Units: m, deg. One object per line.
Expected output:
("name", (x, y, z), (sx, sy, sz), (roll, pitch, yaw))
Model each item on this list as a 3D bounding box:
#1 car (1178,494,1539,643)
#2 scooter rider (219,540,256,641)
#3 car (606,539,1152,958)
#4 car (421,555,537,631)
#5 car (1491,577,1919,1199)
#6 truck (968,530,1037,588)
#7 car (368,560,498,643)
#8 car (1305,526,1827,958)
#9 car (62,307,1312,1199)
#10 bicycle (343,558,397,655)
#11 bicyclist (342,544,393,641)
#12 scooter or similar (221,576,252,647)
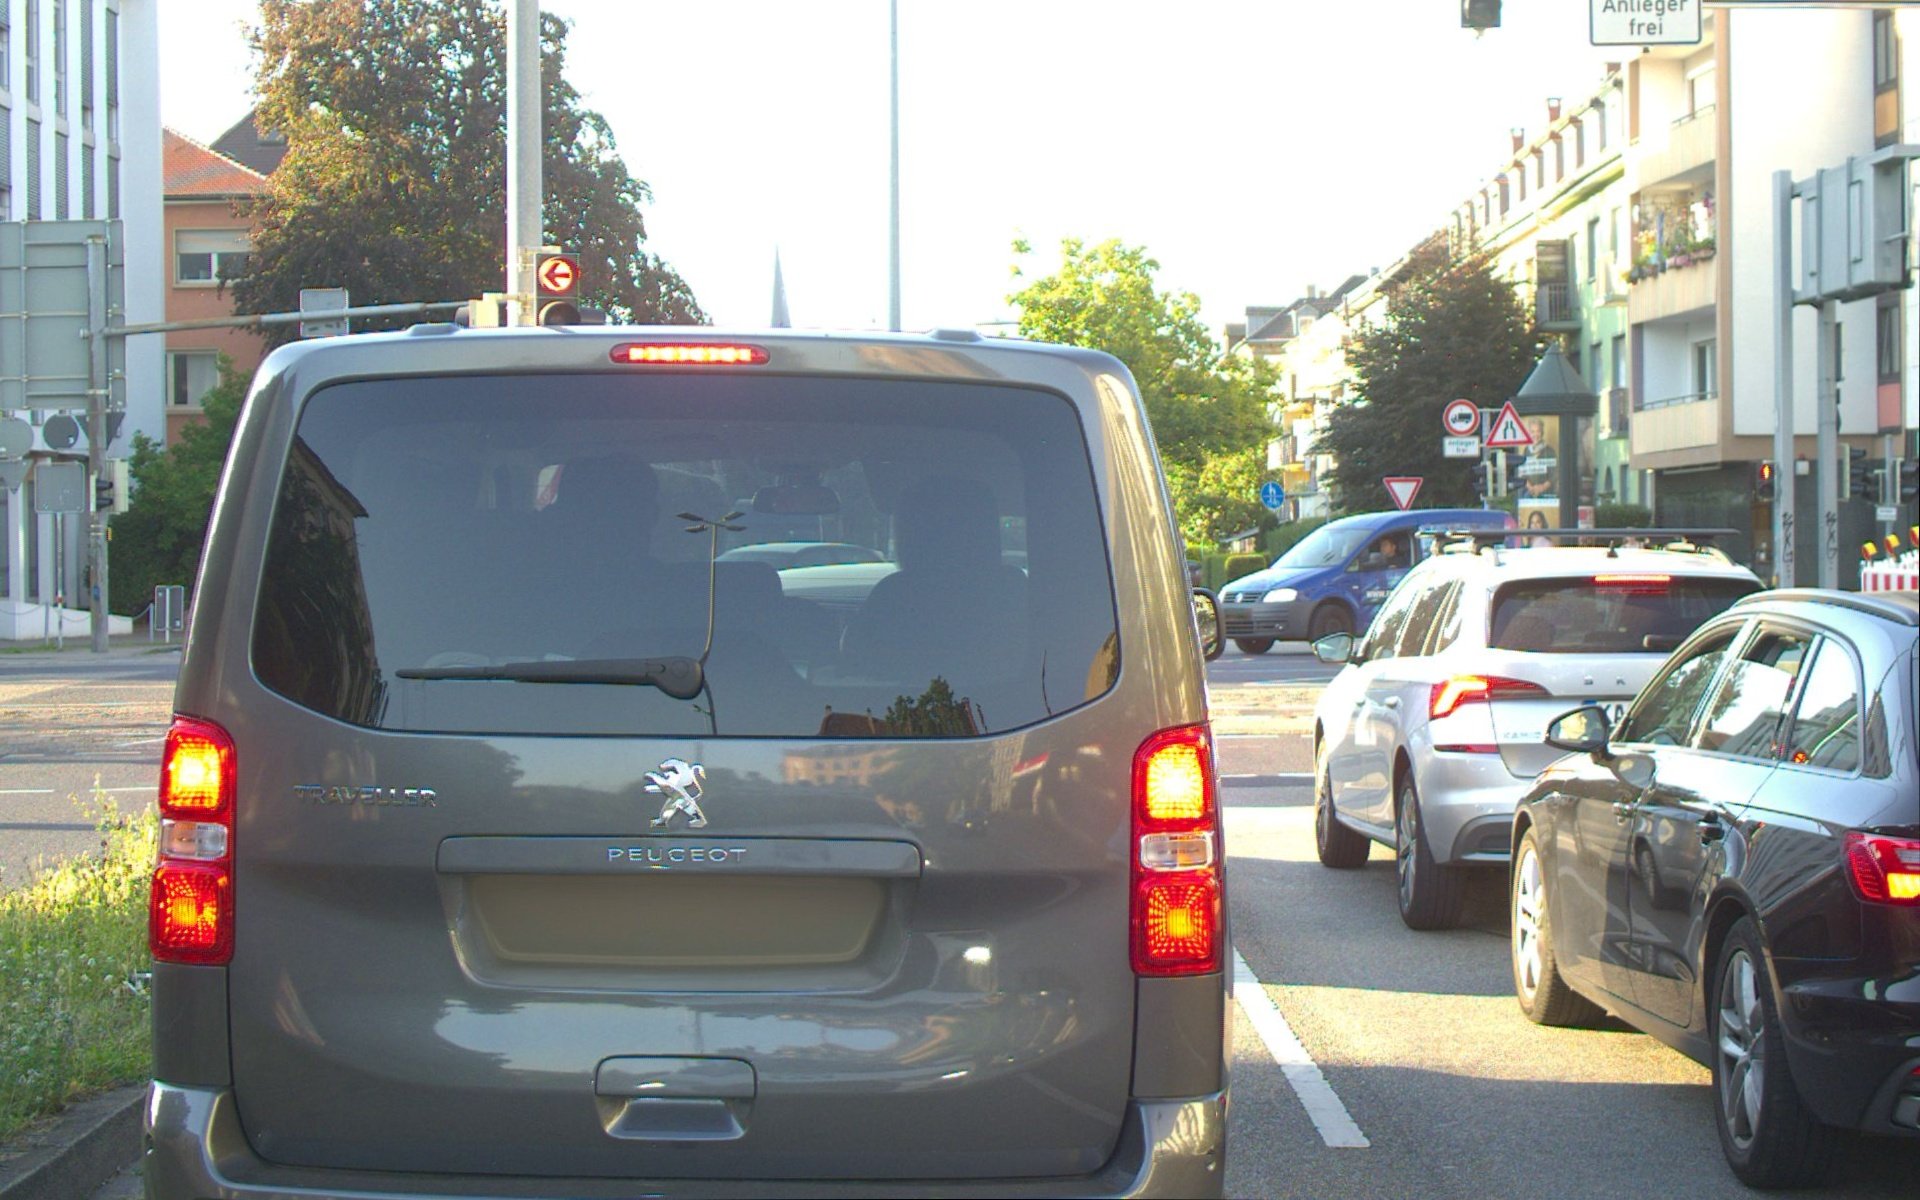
("car", (5.112, -0.424, 44.023), (4.215, 1.811, 2.000), (-1, 1, -30))
("scooter rider", (-12.262, -0.163, 58.333), (0.481, 1.691, 0.636), (0, 1, -1))
("car", (-0.321, 0.512, 14.622), (1.993, 1.525, 4.000), (0, 1, -1))
("car", (-9.491, -0.162, 68.121), (1.856, 1.415, 4.001), (-1, 1, -2))
("car", (2.626, 0.681, 9.204), (1.681, 1.416, 4.214), (1, 1, -1))
("truck", (1.587, -1.532, 126.518), (2.128, 2.079, 4.630), (-1, 1, 5))
("car", (-9.545, 0.003, 62.512), (1.856, 1.415, 4.001), (-1, 1, -2))
("car", (2.481, 0.507, 14.886), (1.528, 1.608, 3.745), (1, 1, -1))
("car", (-0.453, 0.456, 7.574), (1.907, 1.857, 4.527), (1, 1, -1))
("bicycle", (-12.464, 0.113, 72.717), (0.715, 2.007, 2.564), (0, 1, -1))
("bicyclist", (-12.497, -0.163, 72.581), (0.834, 2.007, 1.064), (1, 0, 1))
("scooter or similar", (-12.266, 0.190, 58.298), (0.285, 1.184, 1.169), (0, 1, -1))
